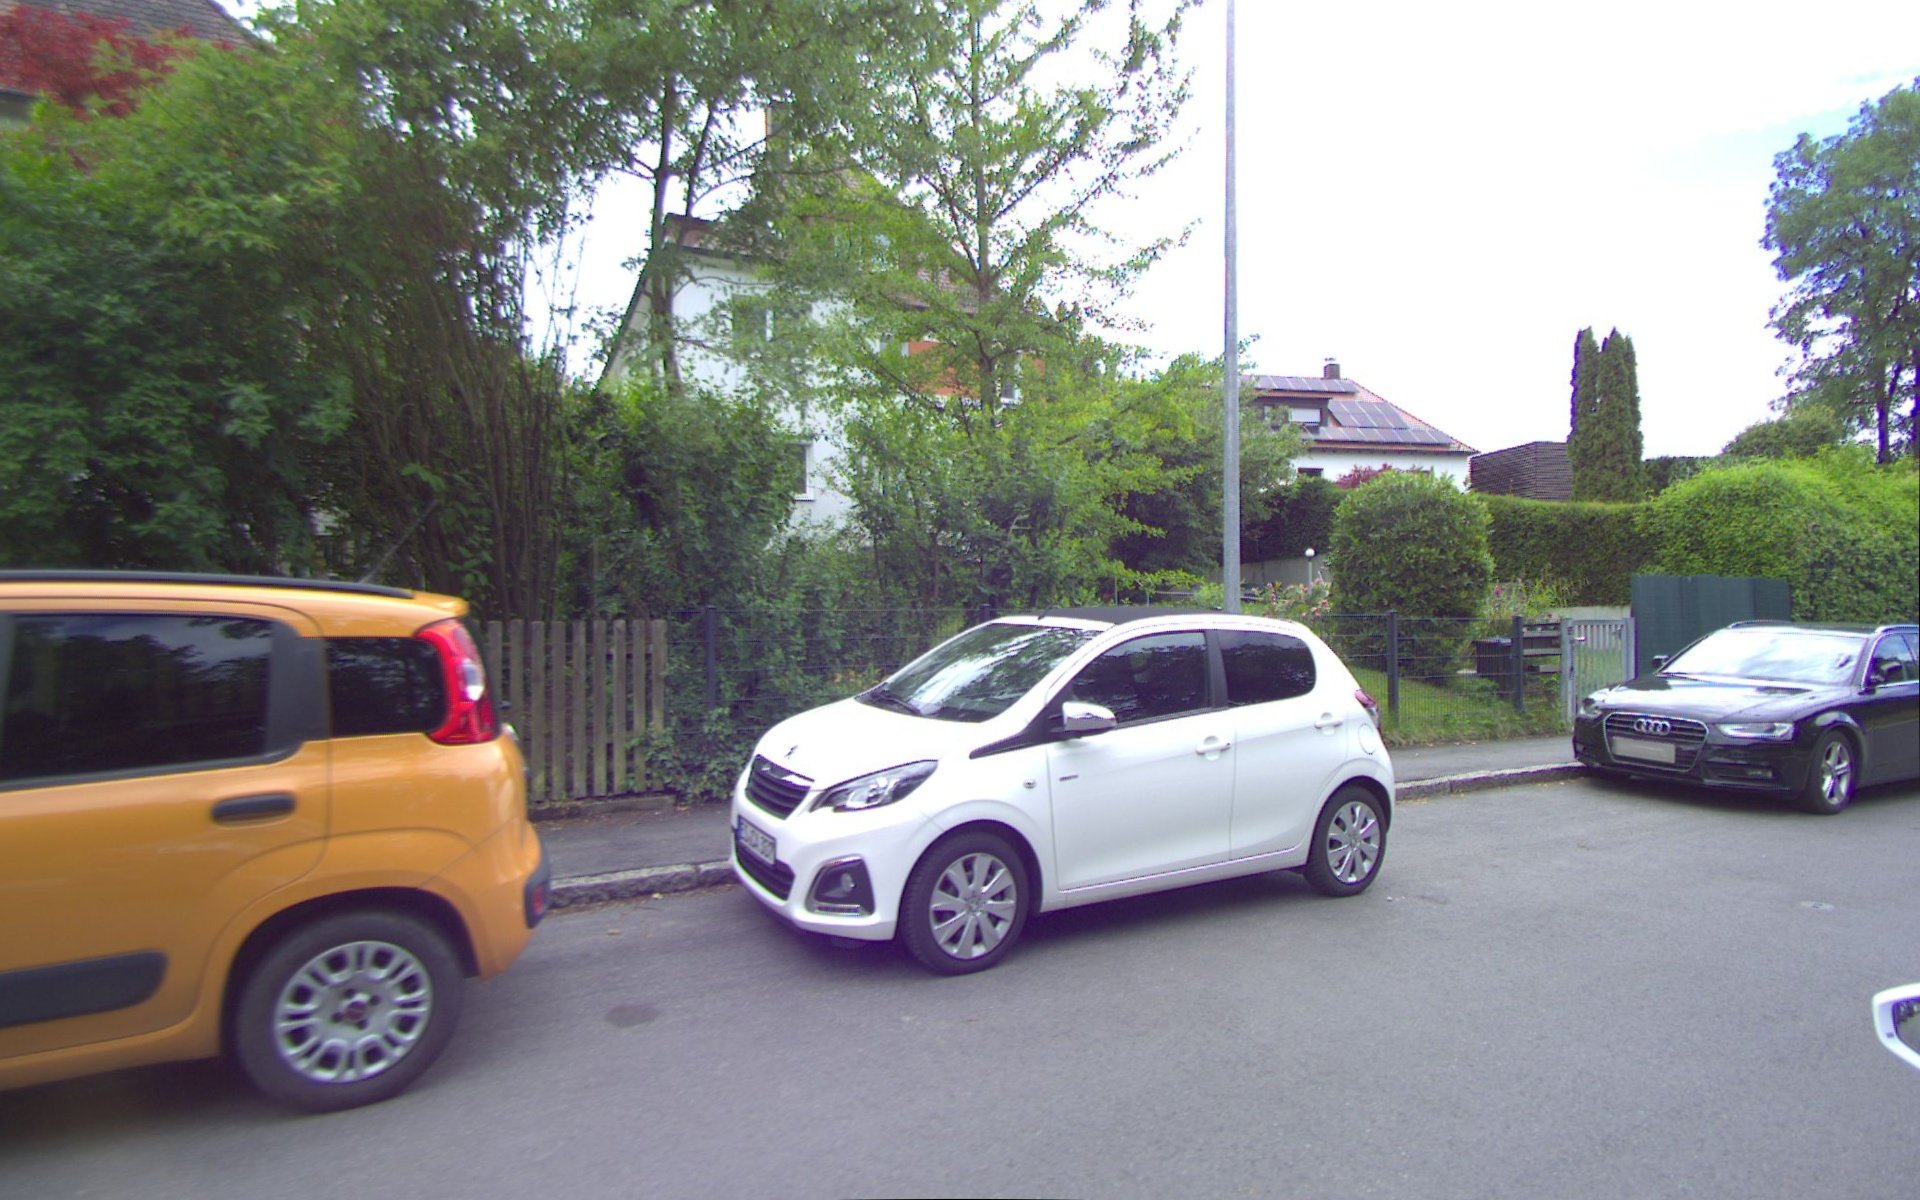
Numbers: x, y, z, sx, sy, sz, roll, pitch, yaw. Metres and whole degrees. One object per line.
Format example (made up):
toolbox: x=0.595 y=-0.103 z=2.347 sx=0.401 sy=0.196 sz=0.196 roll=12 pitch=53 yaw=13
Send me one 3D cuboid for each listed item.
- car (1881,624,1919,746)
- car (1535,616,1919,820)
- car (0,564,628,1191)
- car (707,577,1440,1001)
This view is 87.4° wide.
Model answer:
car: x=12.790 y=0.992 z=11.753 sx=4.056 sy=1.359 sz=1.704 roll=1 pitch=0 yaw=-28
car: x=7.346 y=0.877 z=8.858 sx=4.603 sy=1.403 sz=1.712 roll=1 pitch=0 yaw=-27
car: x=-3.002 y=0.673 z=2.946 sx=3.603 sy=1.534 sz=1.535 roll=1 pitch=0 yaw=-32
car: x=0.664 y=0.714 z=5.221 sx=3.548 sy=1.534 sz=1.581 roll=1 pitch=0 yaw=-30
